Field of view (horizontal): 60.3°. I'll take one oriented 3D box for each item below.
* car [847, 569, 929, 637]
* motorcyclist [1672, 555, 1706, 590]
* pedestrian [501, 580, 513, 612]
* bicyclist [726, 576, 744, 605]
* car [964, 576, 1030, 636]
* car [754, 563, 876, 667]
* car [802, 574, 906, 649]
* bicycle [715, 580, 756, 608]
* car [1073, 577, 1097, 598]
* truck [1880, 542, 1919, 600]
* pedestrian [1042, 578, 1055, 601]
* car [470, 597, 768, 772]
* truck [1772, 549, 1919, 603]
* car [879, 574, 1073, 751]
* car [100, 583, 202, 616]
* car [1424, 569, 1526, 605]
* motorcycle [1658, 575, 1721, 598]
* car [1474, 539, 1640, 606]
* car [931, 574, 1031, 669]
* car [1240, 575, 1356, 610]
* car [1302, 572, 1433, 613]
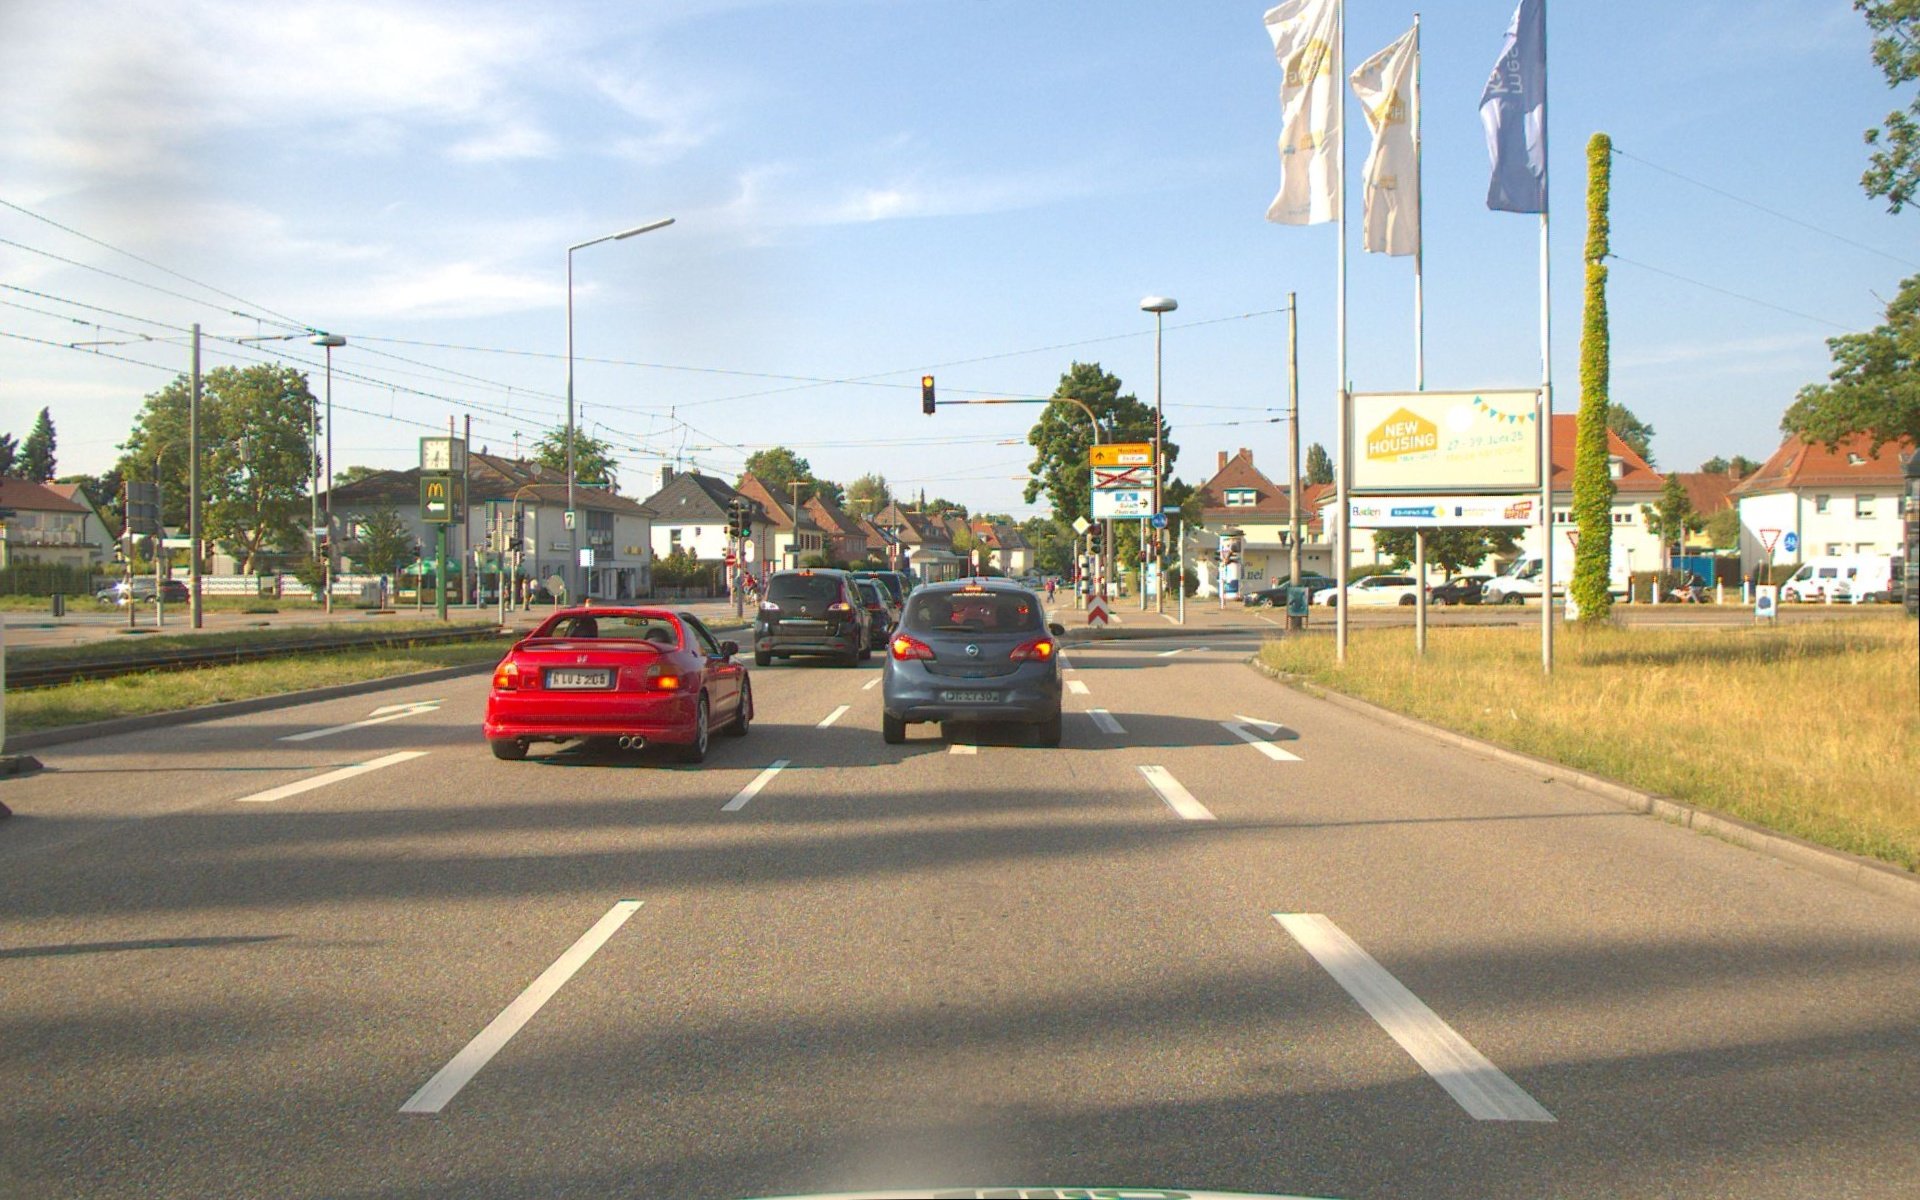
[{"bbox_3d":[-1.848,0.036,43.870,1.474,1.680,4.748,-1,1,6],"label":"car"},{"bbox_3d":[29.299,-1.111,66.477,1.043,1.375,0.680,0,0,3],"label":"motorcyclist"},{"bbox_3d":[-23.413,-0.196,85.472,0.501,1.627,0.539,0,0,0],"label":"pedestrian"},{"bbox_3d":[-11.519,-0.475,84.672,0.867,1.456,1.135,1,0,-5],"label":"bicyclist"},{"bbox_3d":[0.979,0.112,43.161,1.622,1.468,4.015,-1,1,1],"label":"car"},{"bbox_3d":[-2.476,0.207,29.110,1.727,1.700,4.085,0,1,1],"label":"car"},{"bbox_3d":[-2.262,0.199,36.513,1.664,1.534,4.556,0,1,4],"label":"car"},{"bbox_3d":[-11.490,-0.317,84.683,2.034,1.371,1.107,1,0,-6],"label":"bicycle"},{"bbox_3d":[8.815,-0.875,116.752,1.639,1.422,4.002,1,0,4],"label":"car"},{"bbox_3d":[49.382,-1.472,82.346,1.880,2.904,5.985,-1,1,-42],"label":"truck"},{"bbox_3d":[5.901,-0.716,110.534,0.737,1.525,0.828,1,0,9],"label":"pedestrian"},{"bbox_3d":[-2.813,0.637,14.464,1.695,1.227,3.848,1,1,1],"label":"car"},{"bbox_3d":[43.732,-1.204,81.762,2.247,2.568,6.291,-1,1,-31],"label":"truck"},{"bbox_3d":[0.076,0.518,16.685,1.706,1.531,4.221,0,1,-2],"label":"car"},{"bbox_3d":[-38.598,-0.023,78.956,3.902,1.512,2.002,-1,1,9],"label":"car"},{"bbox_3d":[22.189,-0.567,71.308,3.903,1.478,1.717,0,1,4],"label":"car"},{"bbox_3d":[29.313,-0.539,66.480,2.223,0.881,0.691,0,1,3],"label":"motorcycle"},{"bbox_3d":[24.326,-1.118,67.588,6.077,2.628,2.001,0,1,4],"label":"car"},{"bbox_3d":[0.395,0.334,29.867,1.671,1.579,3.978,-1,1,1],"label":"car"},{"bbox_3d":[14.650,-0.340,71.861,4.722,1.436,1.717,0,1,4],"label":"car"},{"bbox_3d":[16.711,-0.316,67.990,4.987,1.590,1.841,0,1,4],"label":"car"}]
